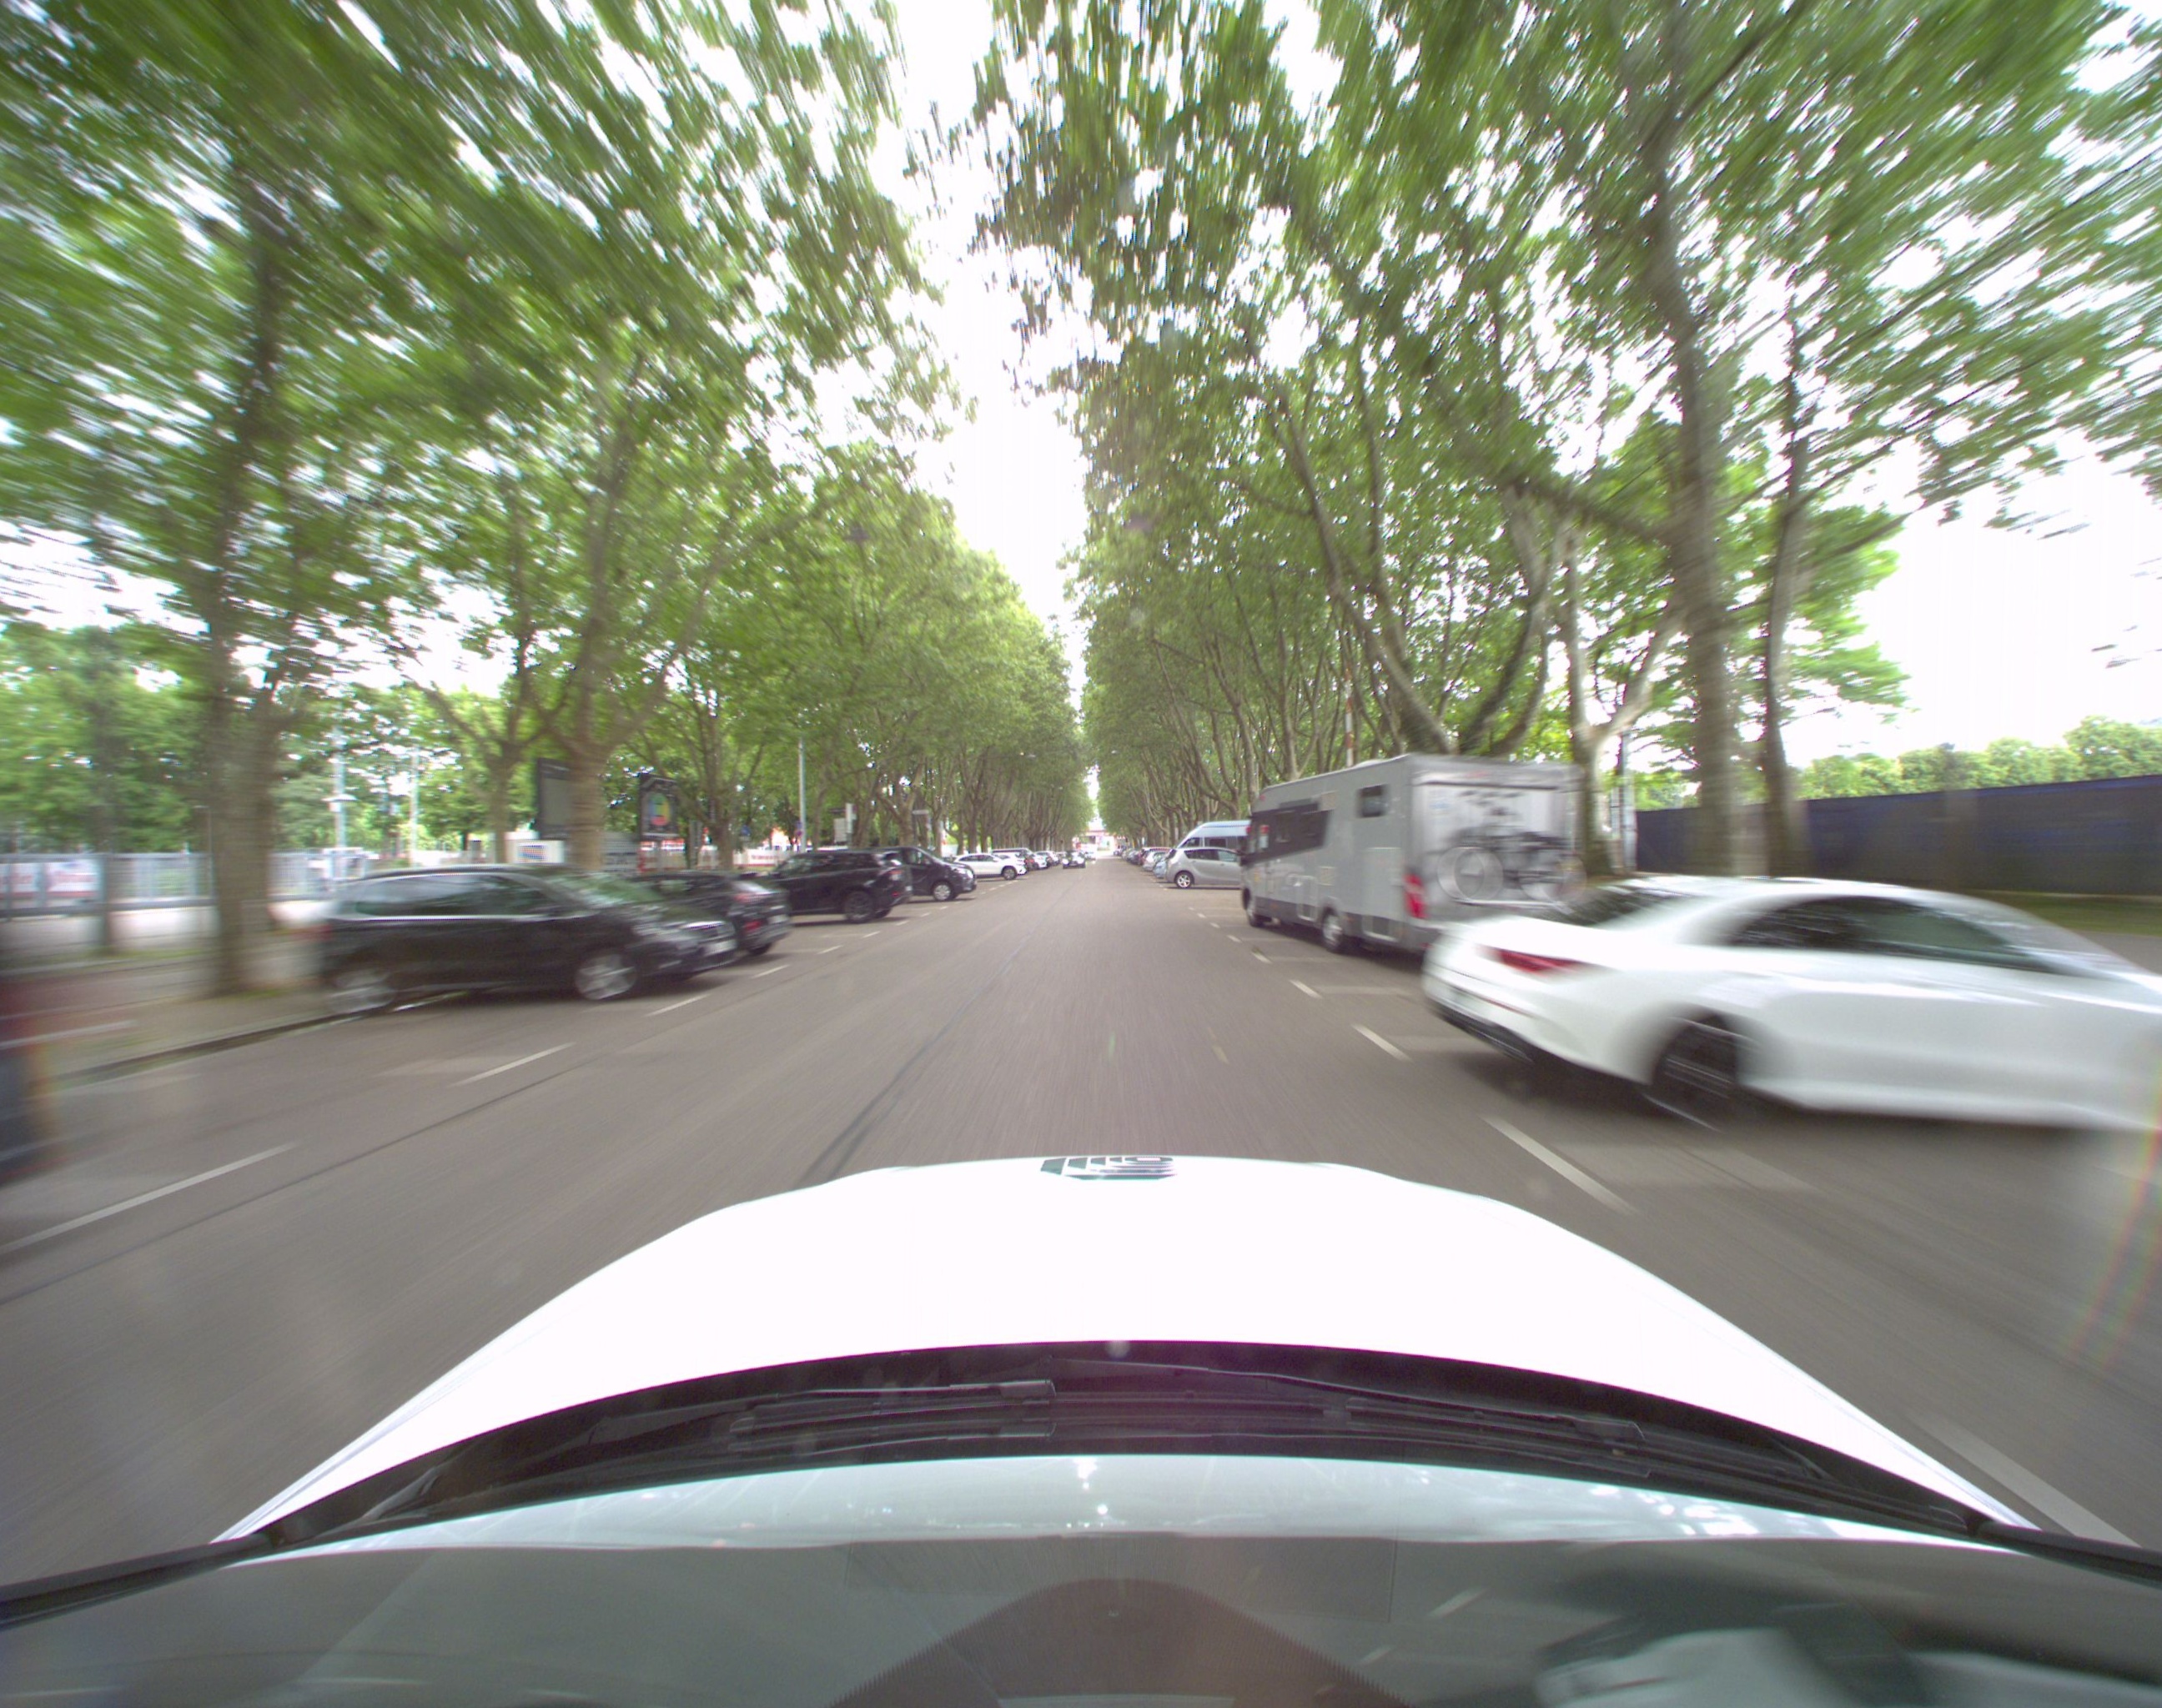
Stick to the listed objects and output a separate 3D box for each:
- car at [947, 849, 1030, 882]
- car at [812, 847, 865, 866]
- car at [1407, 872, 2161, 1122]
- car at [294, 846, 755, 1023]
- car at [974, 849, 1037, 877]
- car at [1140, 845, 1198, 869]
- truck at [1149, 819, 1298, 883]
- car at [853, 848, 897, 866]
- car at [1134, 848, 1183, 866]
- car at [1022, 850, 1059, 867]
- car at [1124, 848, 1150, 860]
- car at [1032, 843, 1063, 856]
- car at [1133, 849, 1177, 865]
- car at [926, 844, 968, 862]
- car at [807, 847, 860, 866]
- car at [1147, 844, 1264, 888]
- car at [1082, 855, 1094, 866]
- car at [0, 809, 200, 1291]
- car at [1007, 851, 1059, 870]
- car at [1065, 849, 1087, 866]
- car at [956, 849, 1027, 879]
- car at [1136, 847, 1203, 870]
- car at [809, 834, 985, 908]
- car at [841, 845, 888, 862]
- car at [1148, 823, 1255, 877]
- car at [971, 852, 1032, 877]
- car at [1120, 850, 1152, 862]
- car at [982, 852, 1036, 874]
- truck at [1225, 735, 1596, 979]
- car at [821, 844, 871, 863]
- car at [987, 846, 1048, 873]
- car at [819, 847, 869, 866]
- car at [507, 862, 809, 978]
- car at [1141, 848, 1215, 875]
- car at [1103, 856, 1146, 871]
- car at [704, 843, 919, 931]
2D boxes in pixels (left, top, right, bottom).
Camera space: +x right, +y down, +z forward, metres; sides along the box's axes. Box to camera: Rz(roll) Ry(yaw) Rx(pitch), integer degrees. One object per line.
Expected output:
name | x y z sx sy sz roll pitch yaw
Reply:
car | -5.207 0.625 46.220 4.366 1.597 2.000 -3 0 -1
car | -30.624 0.300 102.973 5.980 2.252 2.000 -1 0 1
car | 4.605 0.812 5.311 4.303 1.302 1.701 -1 0 2
car | -6.857 0.942 10.368 4.560 1.781 1.799 -4 1 3
car | -5.486 0.644 59.551 4.327 1.667 2.000 -4 0 -1
car | 6.896 0.229 63.825 4.371 1.755 1.800 0 0 -1
truck | 6.244 -0.154 36.278 6.271 2.715 2.098 -1 0 1
car | -30.431 0.415 120.487 5.980 2.527 2.000 -1 0 1
car | 6.531 0.218 68.897 3.974 1.486 1.694 -1 0 -1
car | -4.279 0.458 86.342 3.816 1.627 1.952 -3 0 -2
car | 7.971 -0.028 116.628 3.636 1.667 1.518 -1 0 -2
car | -4.215 -0.553 103.726 3.816 1.429 1.693 -3 0 -2
car | 6.703 0.238 74.214 3.815 1.389 1.694 -1 0 -1
car | -19.799 -0.092 120.201 5.764 2.597 2.001 -1 0 2
car | -30.565 0.342 100.676 5.980 2.252 2.000 -1 0 1
car | 4.738 0.434 31.420 4.320 1.618 1.806 1 0 4
car | 0.977 0.902 117.184 1.683 1.471 3.839 -3 0 0
car | -6.805 0.905 2.911 4.886 1.924 2.209 -3 0 2
car | -4.369 0.576 74.139 4.426 1.452 1.777 -3 0 5
car | -0.469 0.280 69.701 1.650 1.364 4.109 -4 0 -2
car | -5.898 0.633 54.050 4.327 1.667 2.000 -4 0 -1
car | 6.113 0.295 56.812 4.488 1.526 1.702 0 0 -1
car | -6.187 0.547 27.838 5.418 2.127 1.940 -3 1 0
car | -30.602 -0.081 115.140 5.980 2.330 2.000 -1 0 1
car | 6.056 -0.197 41.404 5.208 2.689 1.958 0 0 2
car | -5.539 0.709 56.922 3.975 1.475 1.842 -4 0 -1
car | 7.456 0.208 111.238 4.156 1.596 1.853 -1 0 -2
car | -5.620 0.715 64.101 3.975 1.413 1.682 -4 0 -1
truck | 4.734 0.009 13.704 2.456 2.937 7.520 -1 0 -7
car | -31.259 -0.082 108.401 5.980 2.527 2.000 -1 0 1
car | -5.307 0.441 68.985 4.877 2.019 1.920 -3 0 0
car | -30.751 0.344 105.772 5.980 2.318 2.000 -1 0 1
car | -6.673 1.008 13.117 3.880 1.494 1.756 -4 0 4
car | 5.483 0.425 46.578 4.102 1.429 1.704 1 0 3
car | 4.274 0.930 80.253 4.198 1.451 1.610 -1 0 -1
car | -6.598 0.779 20.309 4.637 1.820 1.806 -3 0 1
